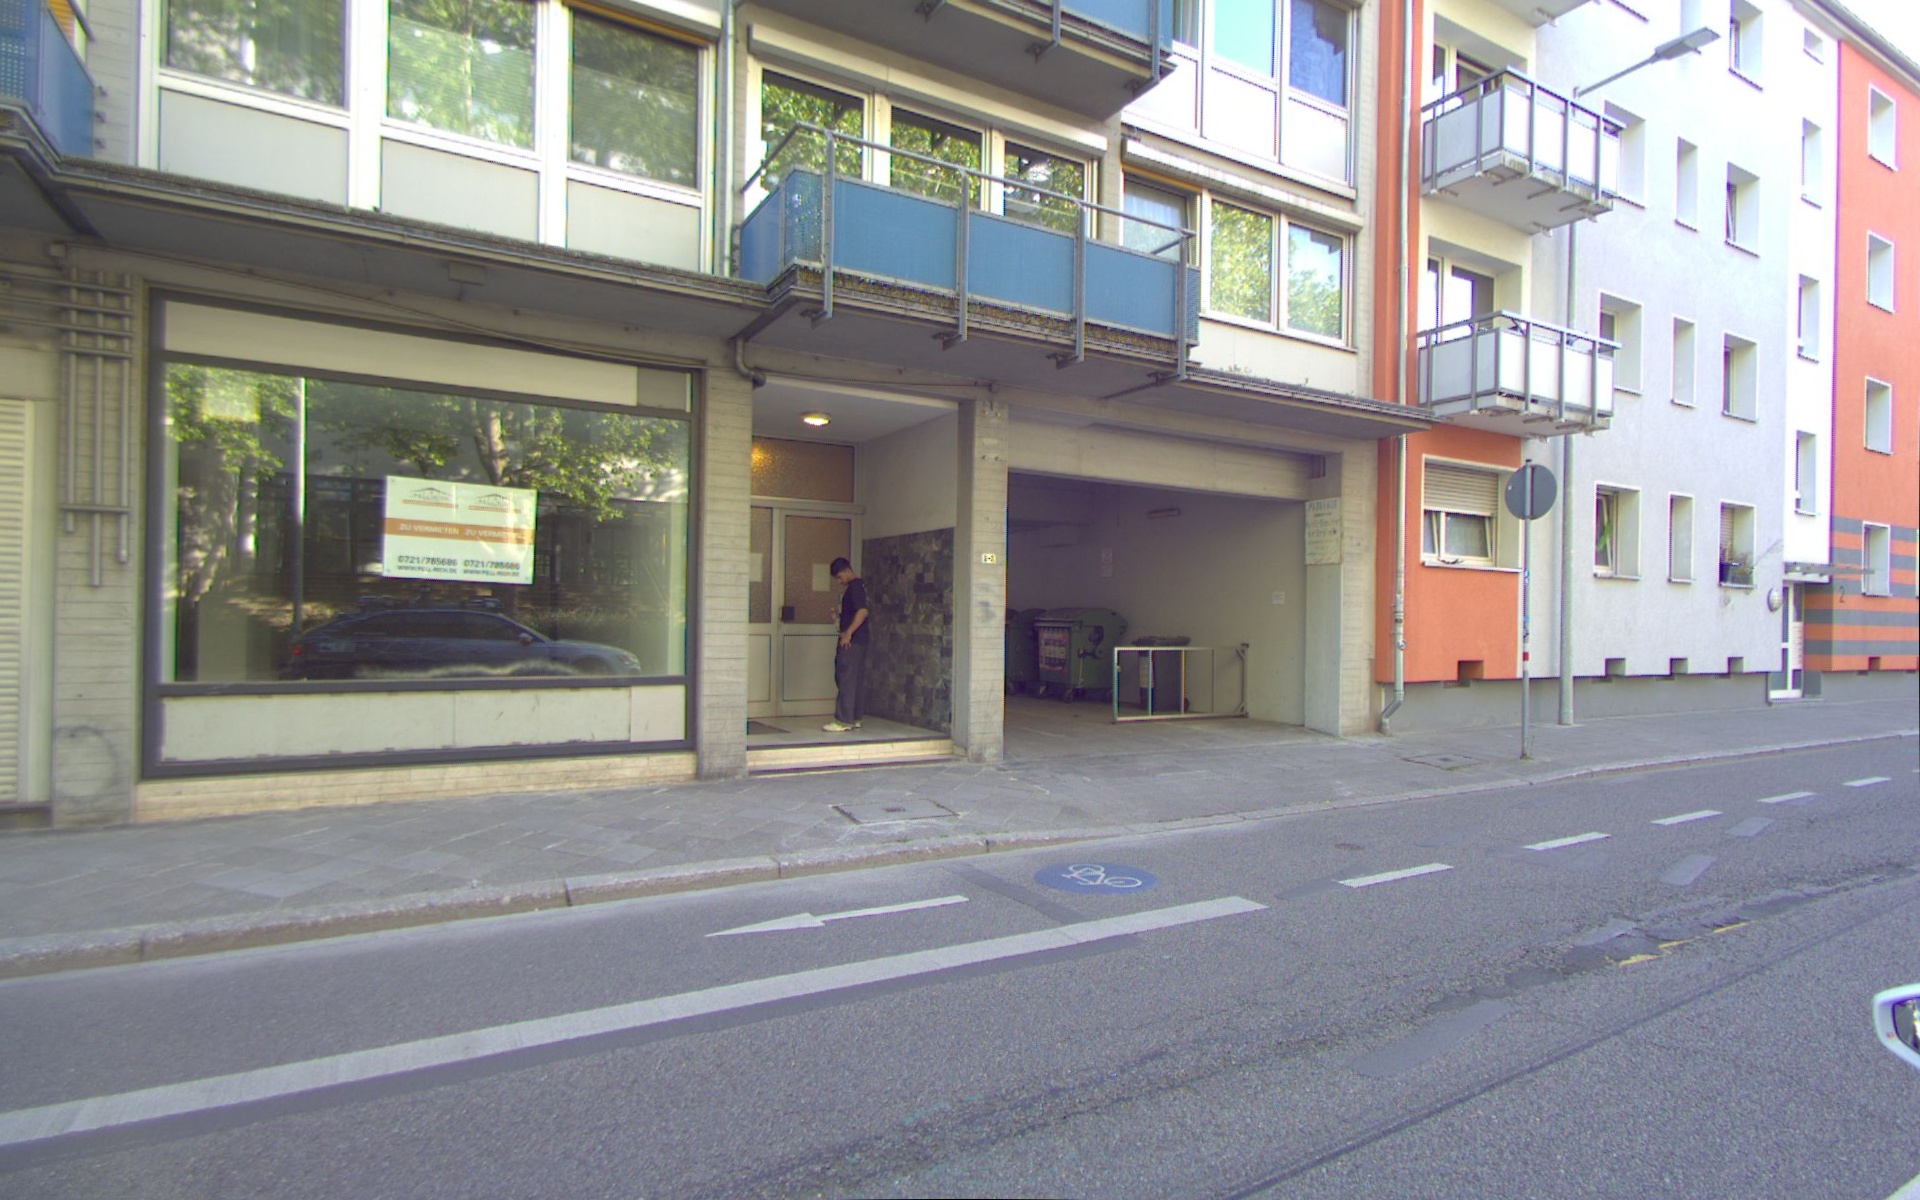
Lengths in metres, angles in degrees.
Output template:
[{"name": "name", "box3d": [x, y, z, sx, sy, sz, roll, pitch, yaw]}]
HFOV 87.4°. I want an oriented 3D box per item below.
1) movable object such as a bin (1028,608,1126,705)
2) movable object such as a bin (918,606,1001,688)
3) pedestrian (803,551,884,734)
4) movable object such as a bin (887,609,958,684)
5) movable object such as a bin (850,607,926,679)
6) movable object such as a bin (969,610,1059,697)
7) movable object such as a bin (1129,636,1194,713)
[{"name": "movable object such as a bin", "box3d": [1.829, 0.860, 15.842, 1.009, 1.438, 1.321, 1, 0, -23]}, {"name": "movable object such as a bin", "box3d": [-0.024, 0.845, 18.677, 1.011, 1.462, 1.318, 1, 0, -29]}, {"name": "pedestrian", "box3d": [-1.163, 0.414, 10.061, 0.518, 1.764, 0.630, 1, 0, 27]}, {"name": "movable object such as a bin", "box3d": [-0.737, 0.894, 19.680, 1.012, 1.409, 1.046, 1, 0, -31]}, {"name": "movable object such as a bin", "box3d": [-1.488, 0.869, 20.660, 1.014, 1.409, 1.264, 1, 0, -37]}, {"name": "movable object such as a bin", "box3d": [0.902, 0.882, 17.167, 1.011, 1.409, 1.319, 1, 0, -27]}, {"name": "movable object such as a bin", "box3d": [2.891, 1.060, 14.435, 0.704, 1.054, 0.583, 1, 0, -30]}]
